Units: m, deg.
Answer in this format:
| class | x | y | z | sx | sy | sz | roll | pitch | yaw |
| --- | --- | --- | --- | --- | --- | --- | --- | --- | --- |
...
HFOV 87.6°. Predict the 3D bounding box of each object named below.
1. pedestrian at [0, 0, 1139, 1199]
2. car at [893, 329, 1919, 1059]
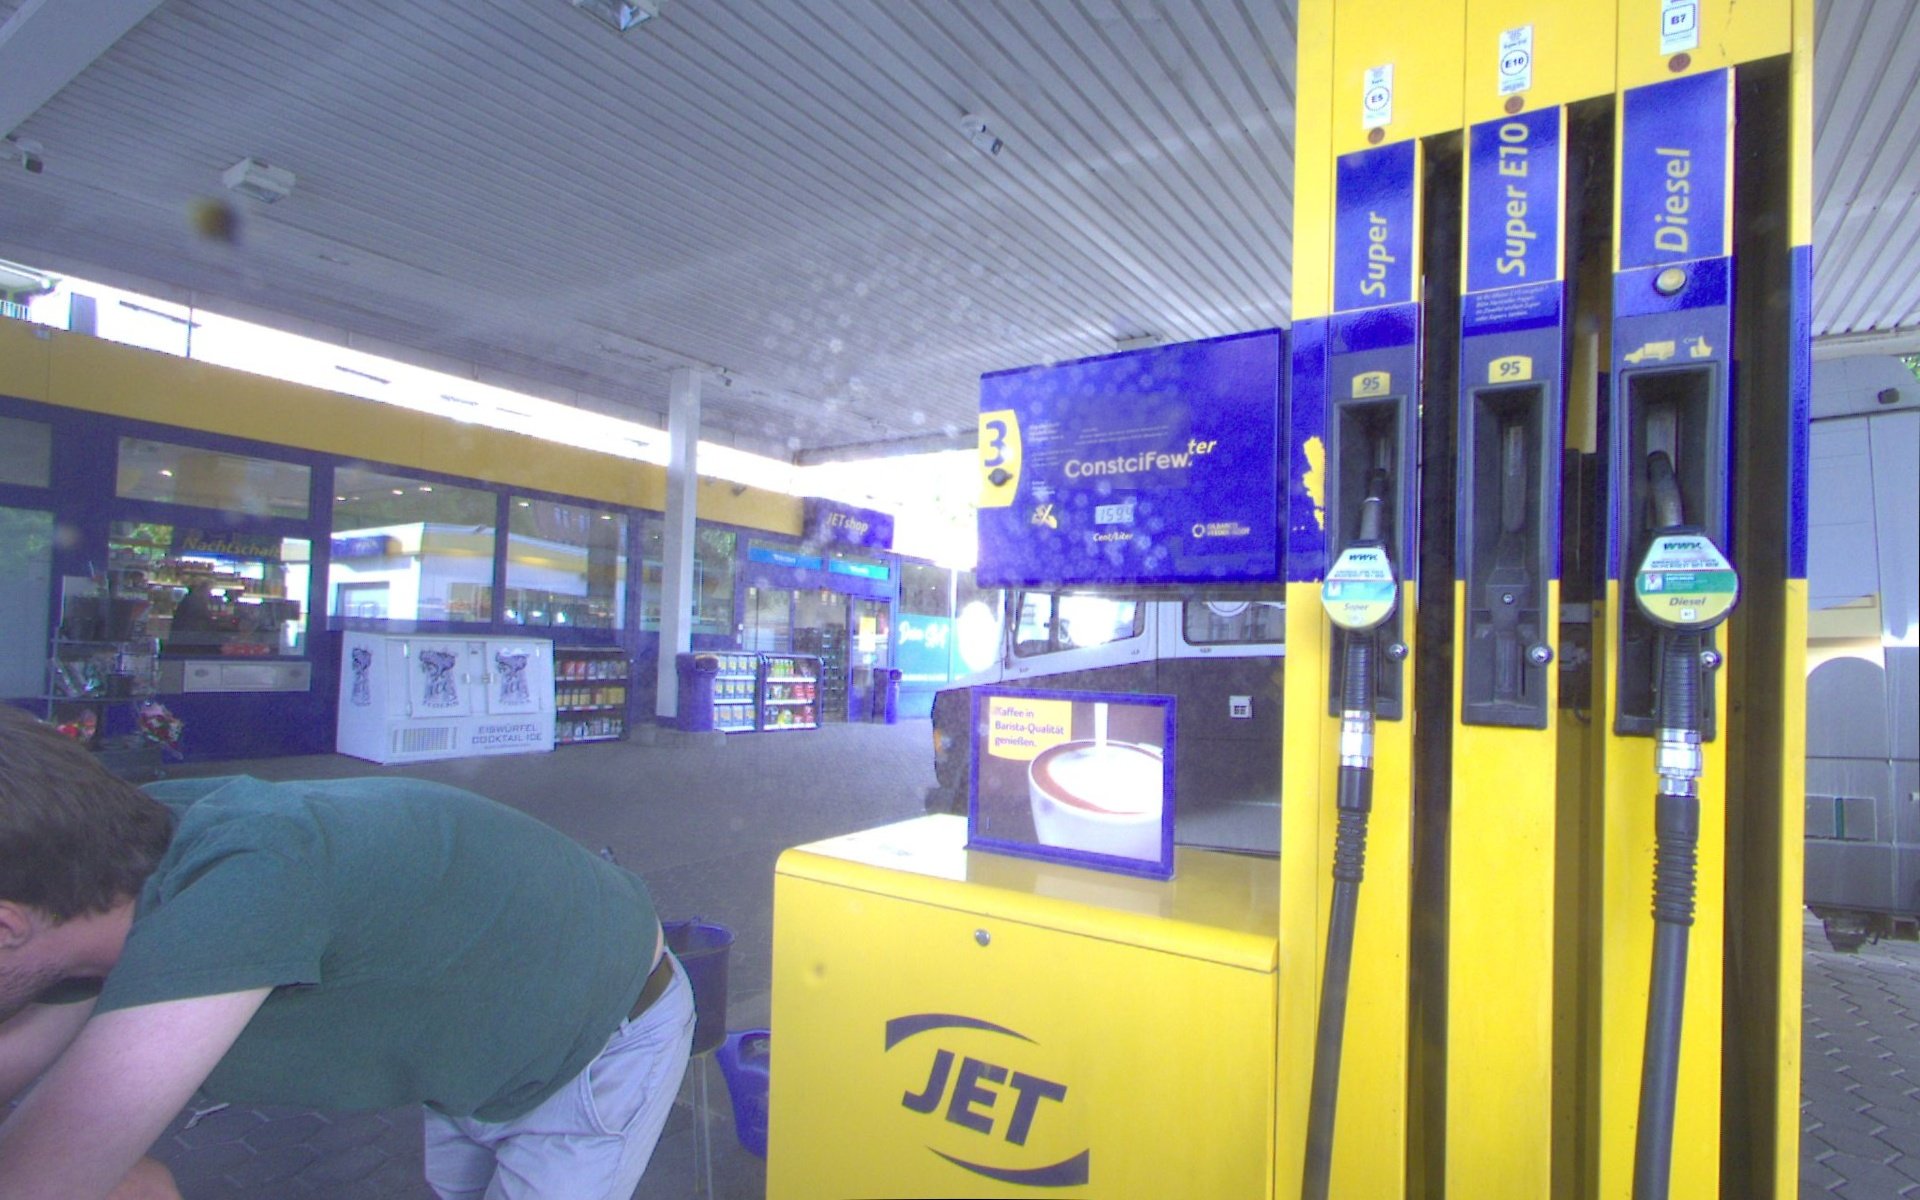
| class | x | y | z | sx | sy | sz | roll | pitch | yaw |
| --- | --- | --- | --- | --- | --- | --- | --- | --- | --- |
| pedestrian | -0.513 | 0.575 | 1.082 | 0.981 | 1.750 | 1.175 | -2 | -2 | 36 |
| car | 2.359 | 0.432 | 5.999 | 5.271 | 2.759 | 2.193 | -1 | -3 | 34 |
